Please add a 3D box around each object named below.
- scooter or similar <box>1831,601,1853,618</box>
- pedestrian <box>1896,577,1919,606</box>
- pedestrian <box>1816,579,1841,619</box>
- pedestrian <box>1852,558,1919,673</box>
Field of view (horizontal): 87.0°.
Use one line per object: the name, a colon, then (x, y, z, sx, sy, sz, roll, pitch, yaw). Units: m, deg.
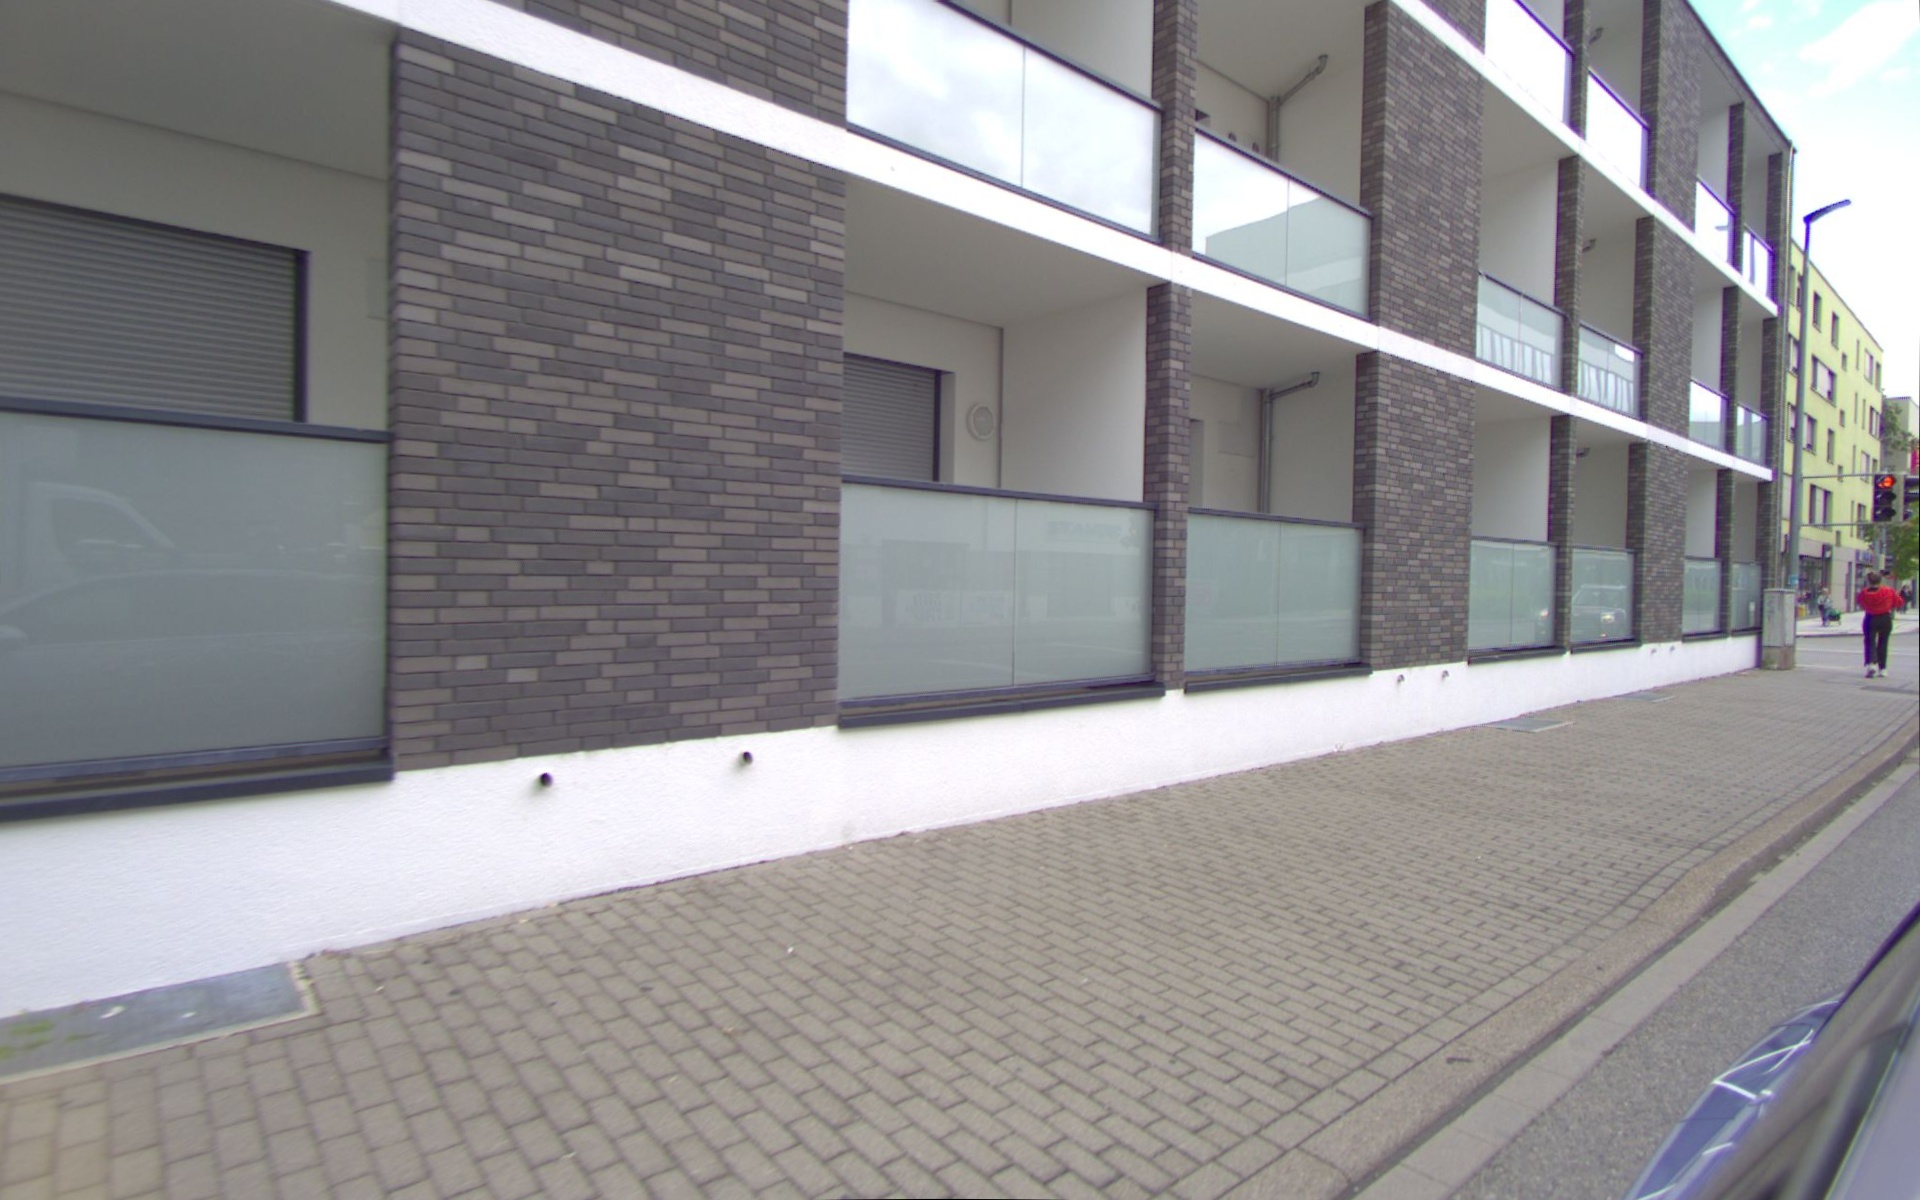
scooter or similar: (37.112, 0.409, 42.591, 0.810, 0.681, 0.593, 0, 2, -42)
pedestrian: (53.475, -0.469, 57.045, 0.998, 1.603, 0.948, 0, 1, -42)
pedestrian: (36.368, -0.048, 42.367, 0.593, 1.613, 0.696, 0, 2, -42)
pedestrian: (15.398, 0.232, 16.703, 0.846, 1.808, 0.809, 0, 3, -41)
